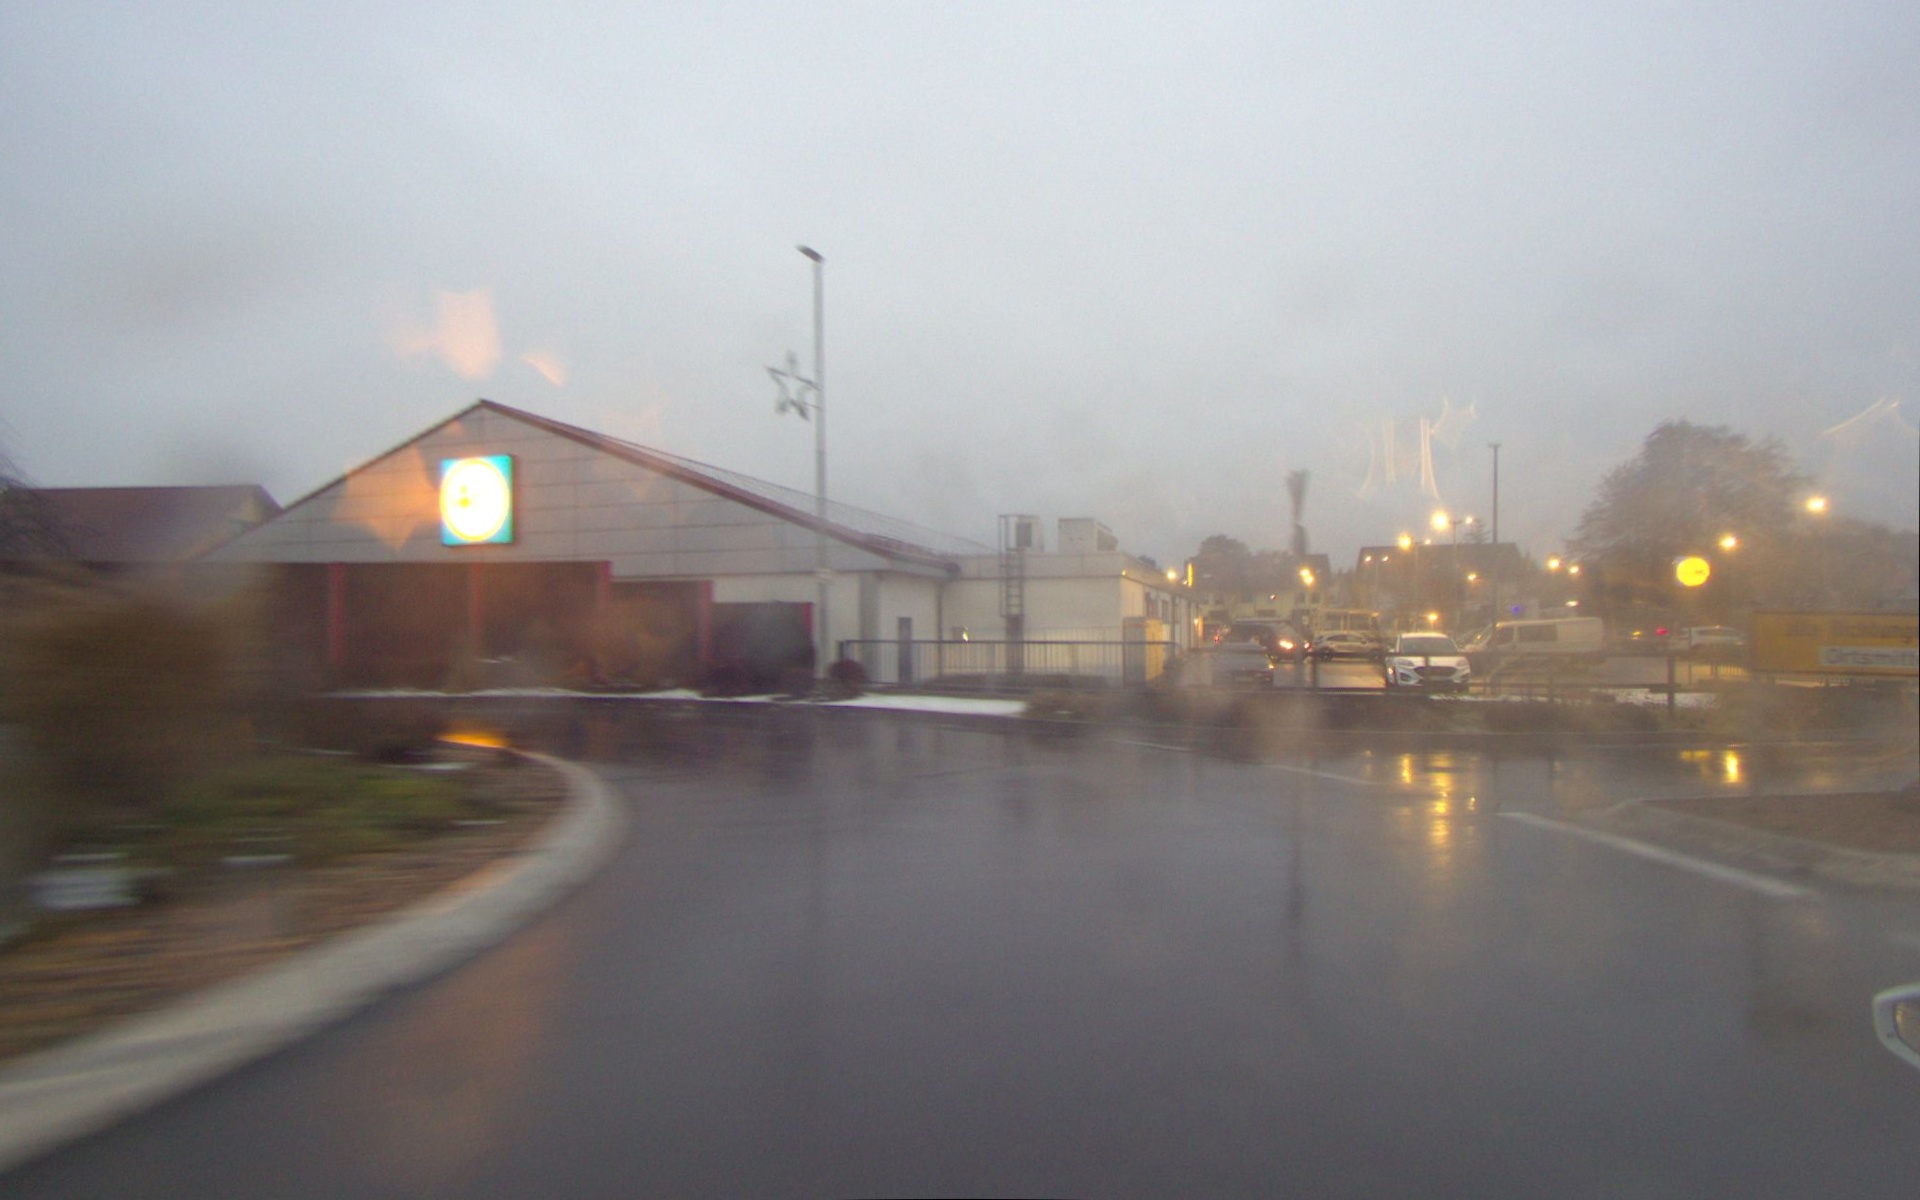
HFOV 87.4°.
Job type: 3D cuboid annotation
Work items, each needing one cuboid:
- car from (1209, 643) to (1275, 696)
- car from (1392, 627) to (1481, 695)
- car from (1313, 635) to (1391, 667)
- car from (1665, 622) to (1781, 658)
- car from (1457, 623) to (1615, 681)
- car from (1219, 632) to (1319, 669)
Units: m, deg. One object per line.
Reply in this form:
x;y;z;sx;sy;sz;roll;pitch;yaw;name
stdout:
8.674;2.065;30.700;1.805;1.329;4.001;1;0;17;car
13.140;1.613;27.939;2.025;1.582;4.279;1;0;23;car
21.580;2.777;55.418;3.773;1.561;1.729;1;0;15;car
38.141;1.986;50.303;4.270;1.771;1.706;-1;-1;19;car
23.877;2.119;41.844;5.313;2.162;2.034;1;0;14;car
16.413;2.642;53.330;4.952;1.688;1.796;1;0;20;car
